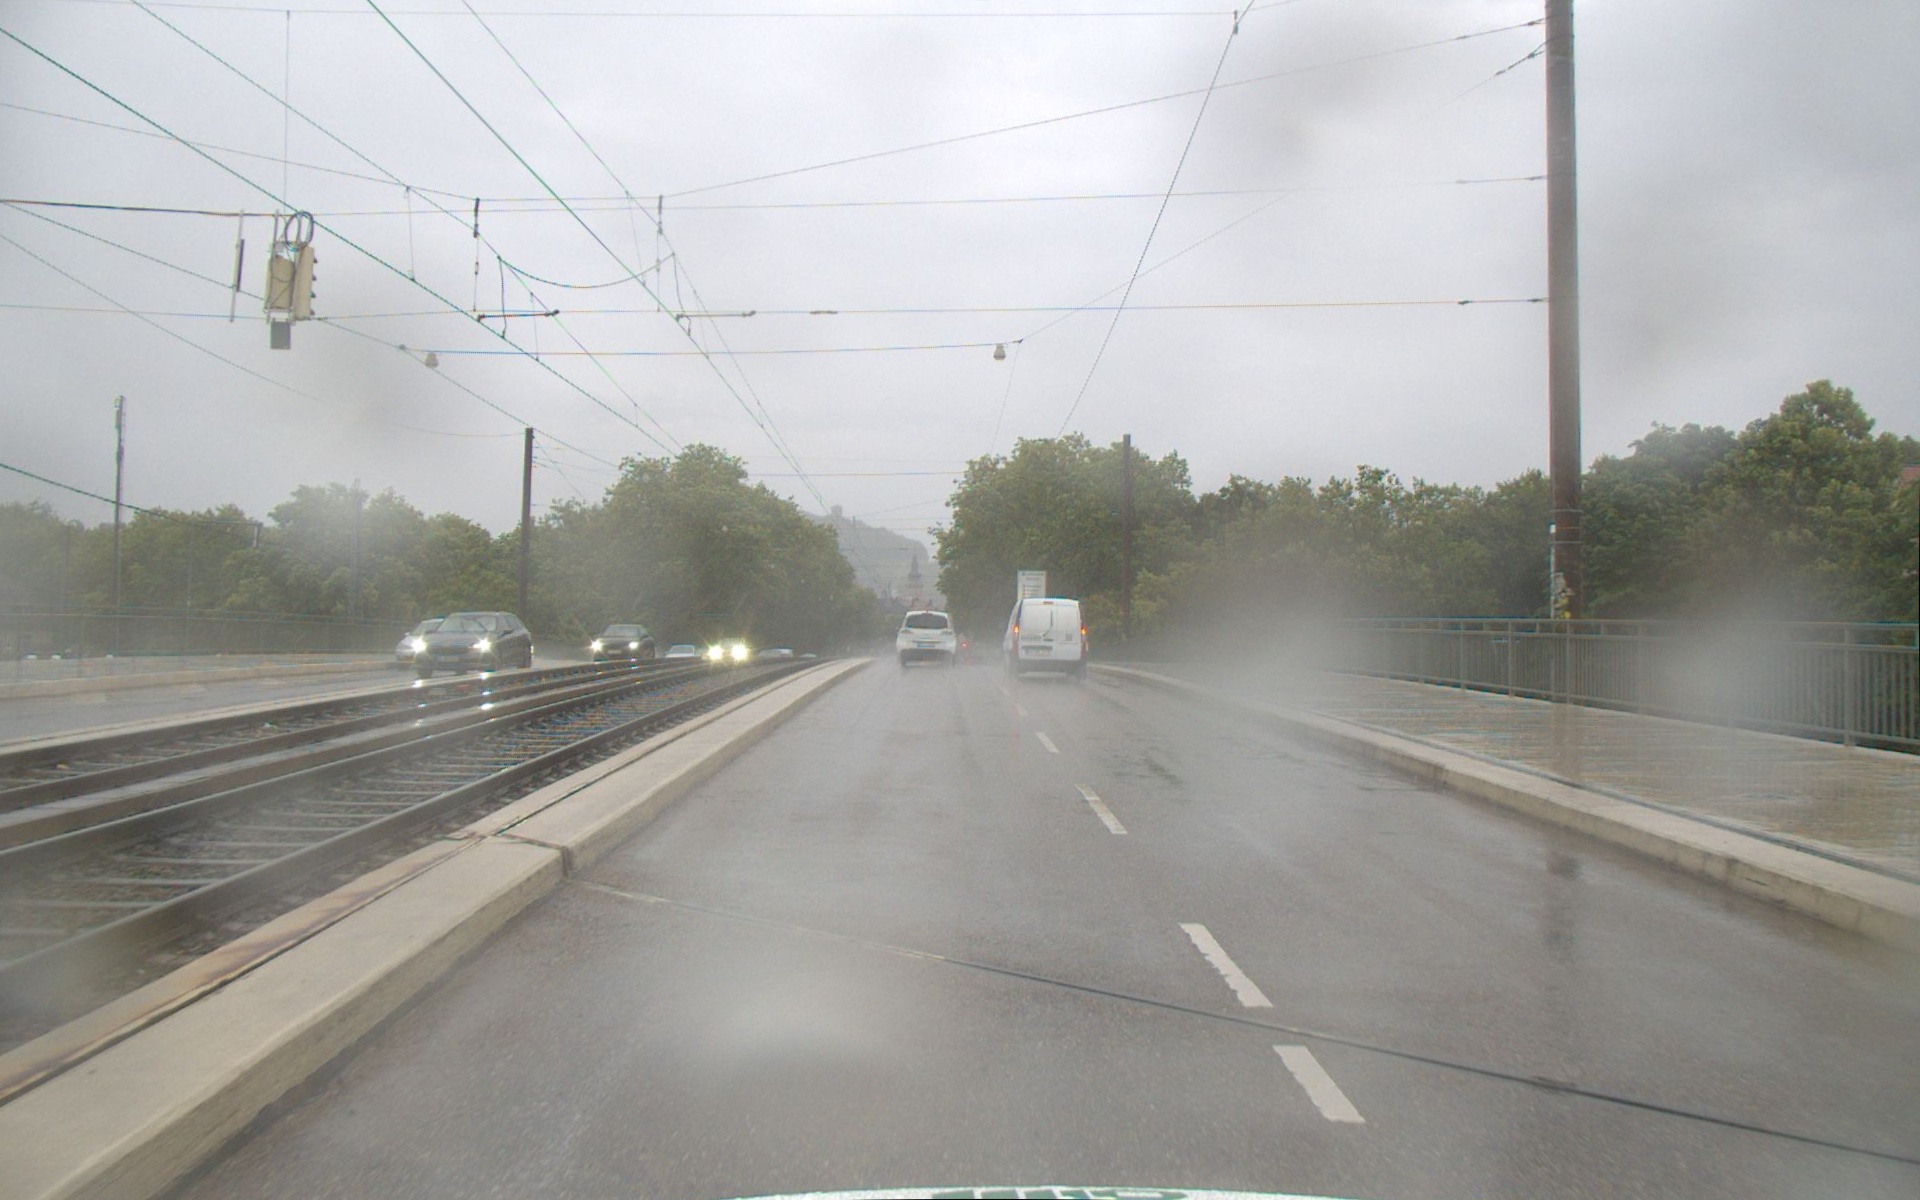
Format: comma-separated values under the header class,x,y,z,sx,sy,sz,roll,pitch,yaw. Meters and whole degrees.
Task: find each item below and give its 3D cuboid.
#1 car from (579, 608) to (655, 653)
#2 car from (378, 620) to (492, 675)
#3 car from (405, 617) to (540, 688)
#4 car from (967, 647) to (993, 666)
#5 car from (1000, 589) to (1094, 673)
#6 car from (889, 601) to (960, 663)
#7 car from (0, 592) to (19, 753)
class,x,y,z,sx,sy,sz,roll,pitch,yaw
car,-12.286,1.118,59.473,1.953,1.536,4.090,-1,-2,-2
car,-15.243,1.381,48.274,1.953,1.481,4.618,-1,-2,-2
car,-11.532,1.236,39.489,1.954,1.536,5.109,-1,-2,-3
car,1.535,4.361,127.567,1.952,1.344,4.000,2,-2,1
car,1.928,0.730,37.732,1.952,1.757,4.000,2,-2,1
car,-1.039,1.006,50.388,1.952,1.747,4.000,2,-2,1
car,-11.342,0.753,15.798,1.953,1.747,4.939,-1,-2,-1
